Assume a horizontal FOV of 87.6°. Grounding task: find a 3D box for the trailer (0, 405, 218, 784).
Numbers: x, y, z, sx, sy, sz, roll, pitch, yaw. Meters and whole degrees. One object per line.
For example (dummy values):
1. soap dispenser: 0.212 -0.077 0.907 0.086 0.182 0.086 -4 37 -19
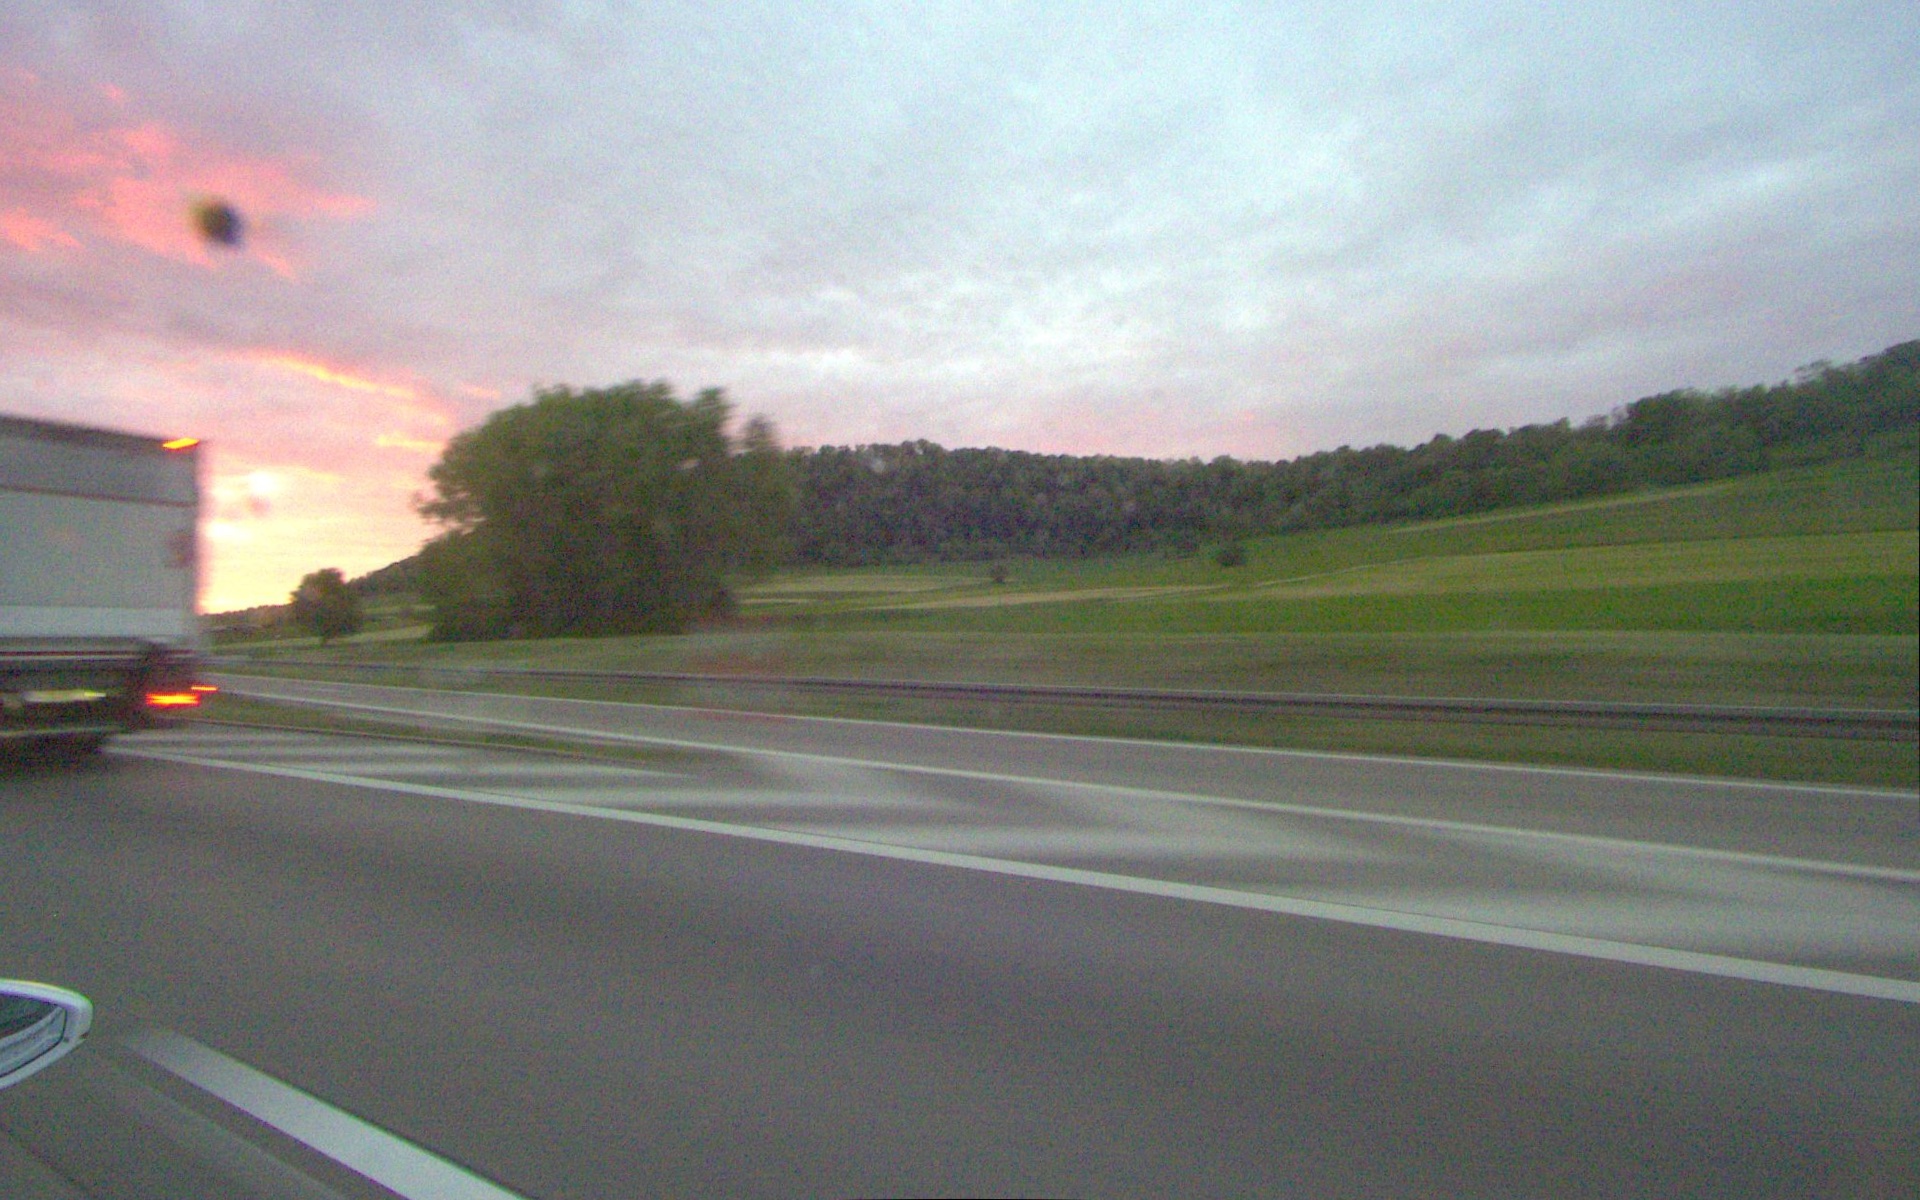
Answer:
1. trailer: -13.250 0.069 13.076 8.750 3.875 2.613 -2 -2 31
